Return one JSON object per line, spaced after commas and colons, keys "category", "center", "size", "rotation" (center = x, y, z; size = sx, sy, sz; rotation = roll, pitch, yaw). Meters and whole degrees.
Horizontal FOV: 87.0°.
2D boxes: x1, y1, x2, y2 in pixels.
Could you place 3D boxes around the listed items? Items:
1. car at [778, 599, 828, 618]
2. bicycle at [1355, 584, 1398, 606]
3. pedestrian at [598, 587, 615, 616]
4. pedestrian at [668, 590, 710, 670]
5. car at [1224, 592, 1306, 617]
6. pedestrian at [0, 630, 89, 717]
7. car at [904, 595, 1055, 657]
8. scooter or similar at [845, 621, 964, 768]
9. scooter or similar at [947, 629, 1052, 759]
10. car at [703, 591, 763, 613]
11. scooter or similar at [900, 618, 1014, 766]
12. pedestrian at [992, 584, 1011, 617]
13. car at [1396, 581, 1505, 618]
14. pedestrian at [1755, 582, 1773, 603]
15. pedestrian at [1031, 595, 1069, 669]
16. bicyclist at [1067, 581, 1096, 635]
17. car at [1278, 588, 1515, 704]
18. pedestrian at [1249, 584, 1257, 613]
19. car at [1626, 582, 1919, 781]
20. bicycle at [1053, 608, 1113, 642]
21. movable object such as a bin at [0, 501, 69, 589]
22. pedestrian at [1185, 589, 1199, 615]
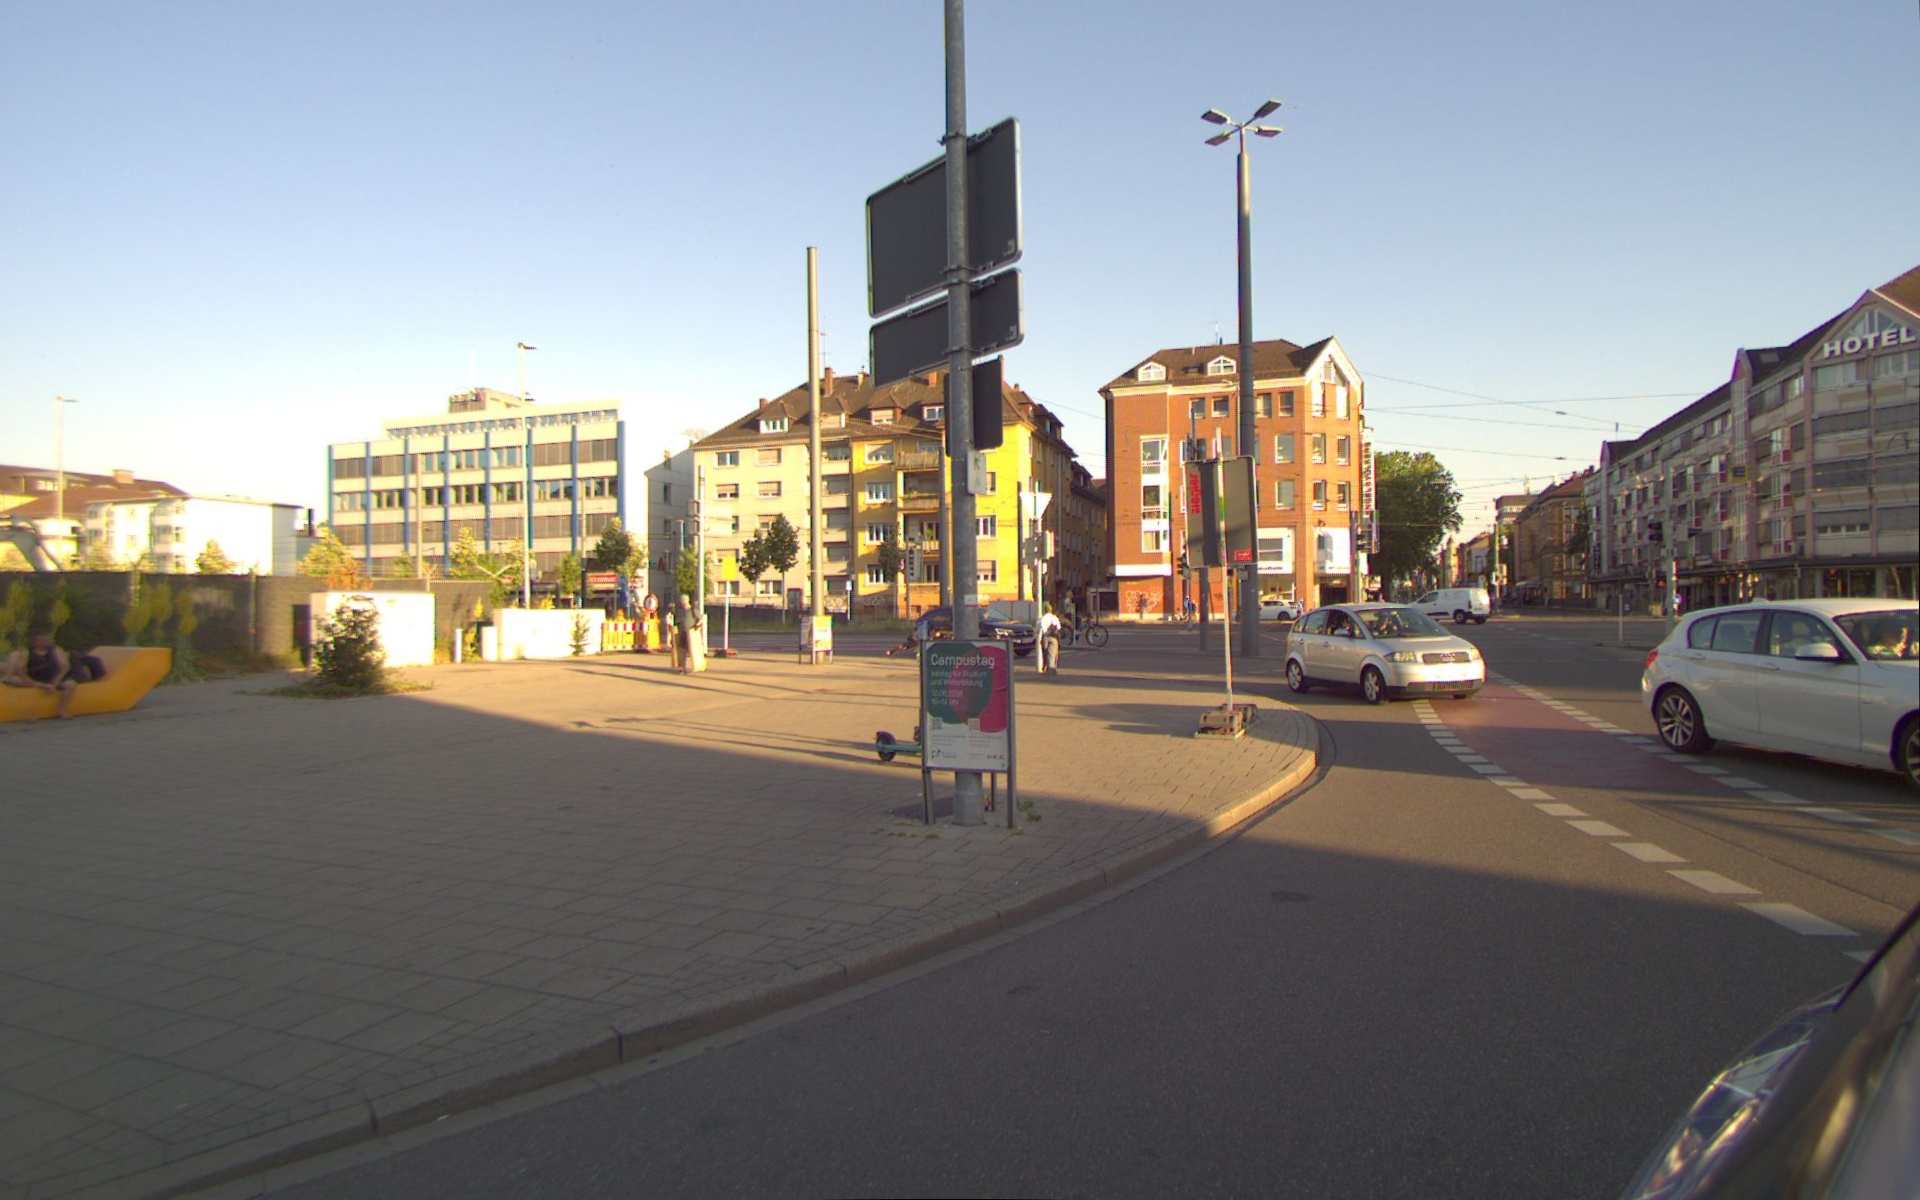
{"category": "car", "center": [-12.250, 0.663, 78.923], "size": [3.495, 1.438, 1.730], "rotation": [0, 0, 18]}
{"category": "bicycle", "center": [34.221, -0.390, 83.223], "size": [3.268, 1.748, 1.062], "rotation": [0, 0, 22]}
{"category": "pedestrian", "center": [-19.432, 0.075, 55.631], "size": [0.682, 1.611, 0.561], "rotation": [0, 0, 23]}
{"category": "pedestrian", "center": [-6.119, 0.655, 22.812], "size": [0.804, 1.757, 0.946], "rotation": [0, 0, -22]}
{"category": "car", "center": [18.805, 0.292, 62.453], "size": [4.537, 1.467, 1.793], "rotation": [0, 1, 37]}
{"category": "pedestrian", "center": [-13.131, 1.026, 14.434], "size": [0.980, 1.172, 0.729], "rotation": [-1, 0, 25]}
{"category": "car", "center": [0.500, 0.692, 29.607], "size": [1.912, 1.637, 4.381], "rotation": [-1, 1, -44]}
{"category": "scooter or similar", "center": [-0.569, 0.856, 9.792], "size": [0.599, 1.276, 1.529], "rotation": [-1, -1, -25]}
{"category": "scooter or similar", "center": [0.371, 0.905, 10.267], "size": [0.452, 1.181, 1.406], "rotation": [0, 0, -26]}
{"category": "car", "center": [-18.137, 0.145, 80.909], "size": [4.290, 1.726, 2.107], "rotation": [0, 0, 18]}
{"category": "scooter or similar", "center": [-0.065, 0.848, 10.028], "size": [0.452, 1.309, 1.656], "rotation": [-1, 0, -25]}
{"category": "pedestrian", "center": [1.970, 0.011, 47.731], "size": [0.633, 1.560, 0.698], "rotation": [0, 0, 36]}
{"category": "car", "center": [25.799, -0.024, 53.412], "size": [1.961, 1.861, 4.881], "rotation": [-1, 0, -29]}
{"category": "pedestrian", "center": [59.312, -0.563, 74.659], "size": [0.698, 1.568, 0.901], "rotation": [-1, 0, 19]}
{"category": "pedestrian", "center": [2.016, 0.699, 22.617], "size": [0.683, 1.634, 0.591], "rotation": [0, 0, 28]}
{"category": "bicyclist", "center": [3.894, 0.252, 32.476], "size": [0.739, 1.692, 0.592], "rotation": [-2, 1, 22]}
{"category": "car", "center": [6.827, 0.667, 16.288], "size": [1.646, 1.581, 3.732], "rotation": [-2, 0, -10]}
{"category": "pedestrian", "center": [17.095, -0.087, 58.965], "size": [0.413, 1.729, 0.513], "rotation": [-1, 0, 17]}
{"category": "car", "center": [7.834, 0.579, 8.309], "size": [1.881, 1.423, 4.302], "rotation": [-1, -1, 1]}
{"category": "bicycle", "center": [3.955, 0.793, 32.453], "size": [1.825, 1.036, 0.592], "rotation": [0, 0, 22]}
{"category": "movable object such as a bin", "center": [-24.148, -1.282, 23.659], "size": [4.936, 2.039, 1.997], "rotation": [-1, 0, -41]}
{"category": "pedestrian", "center": [15.937, 0.144, 69.548], "size": [0.859, 1.800, 0.914], "rotation": [-1, 0, 12]}
